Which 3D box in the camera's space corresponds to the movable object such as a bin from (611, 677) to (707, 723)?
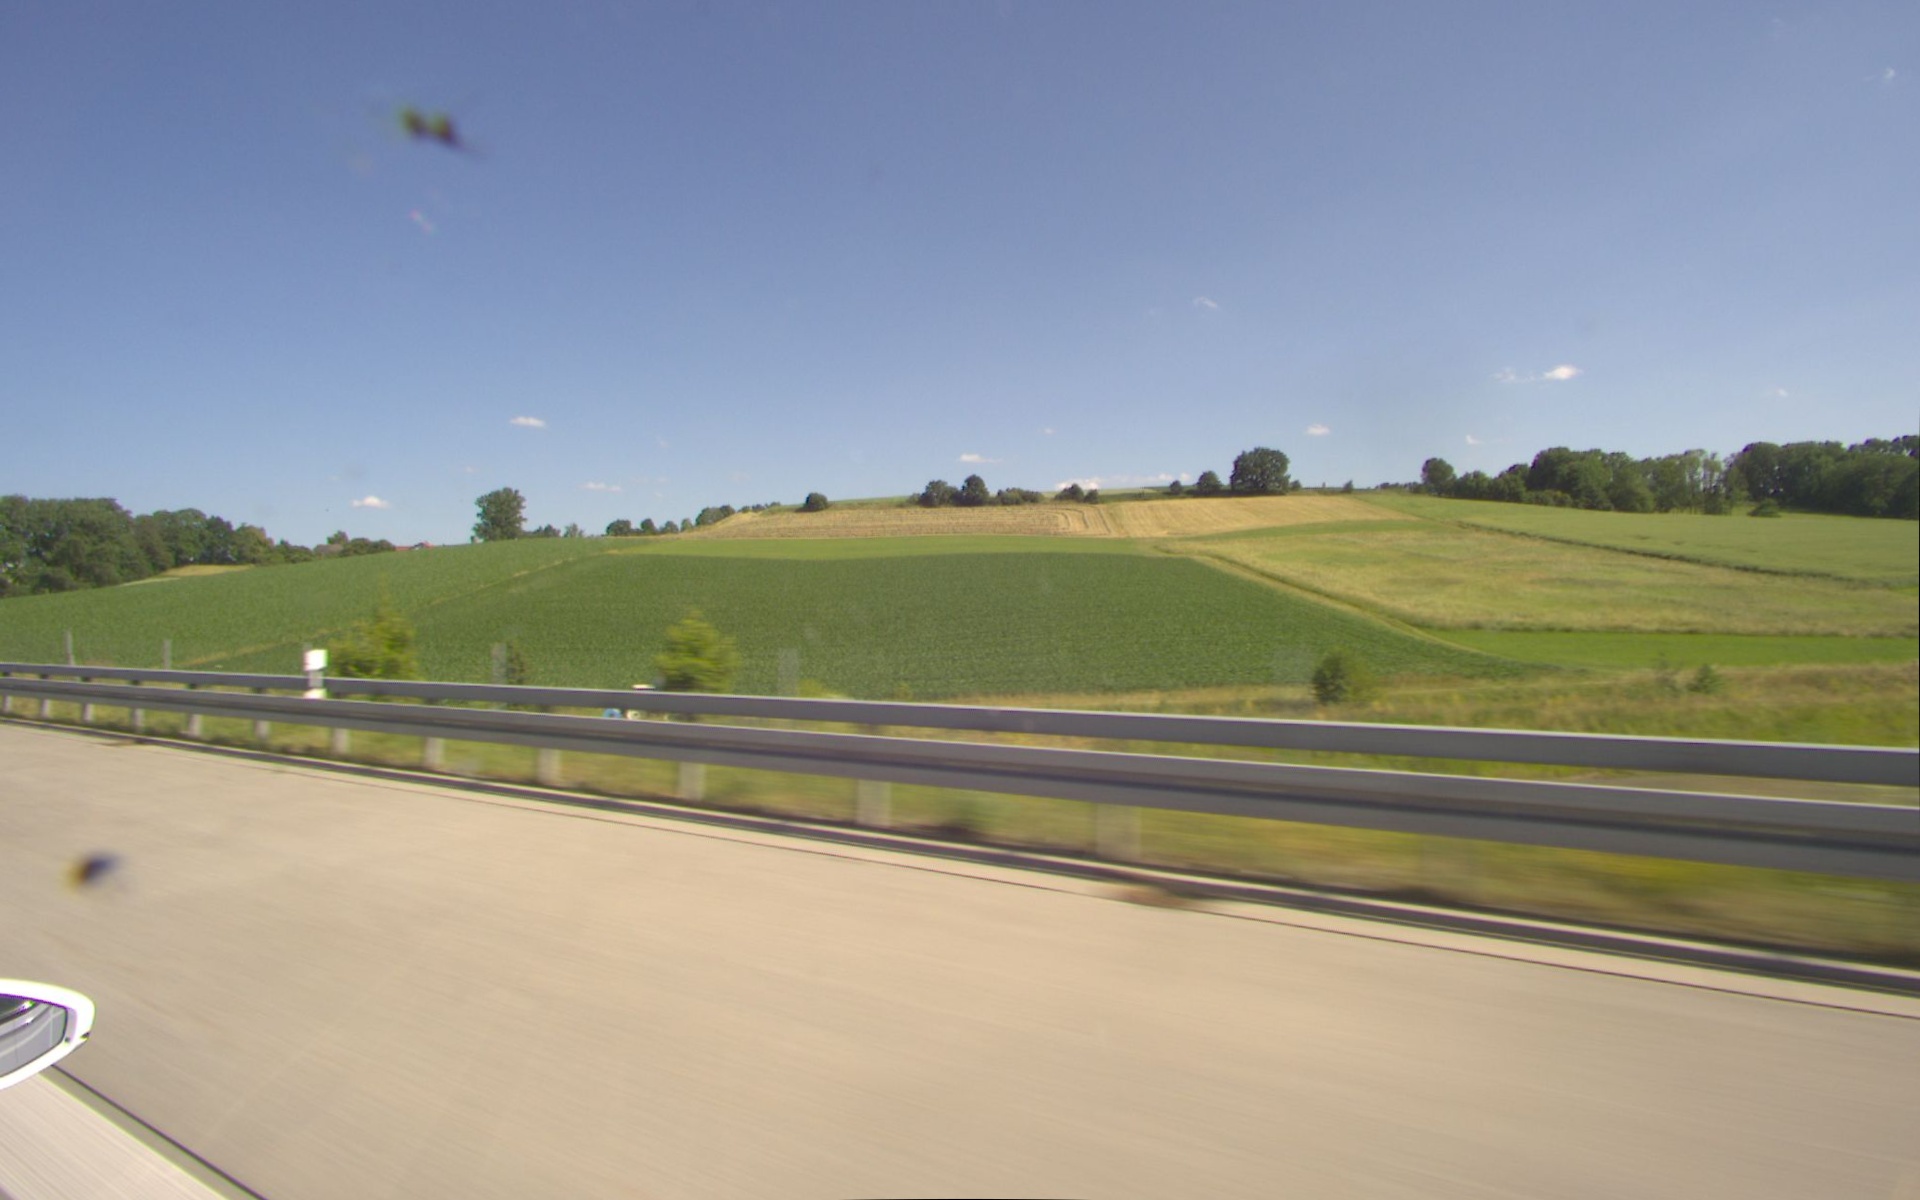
[{"bbox_3d":[-20.401,6.743,67.984,6.122,2.805,3.282,0,-2,-18],"label":"movable object such as a bin"}]
